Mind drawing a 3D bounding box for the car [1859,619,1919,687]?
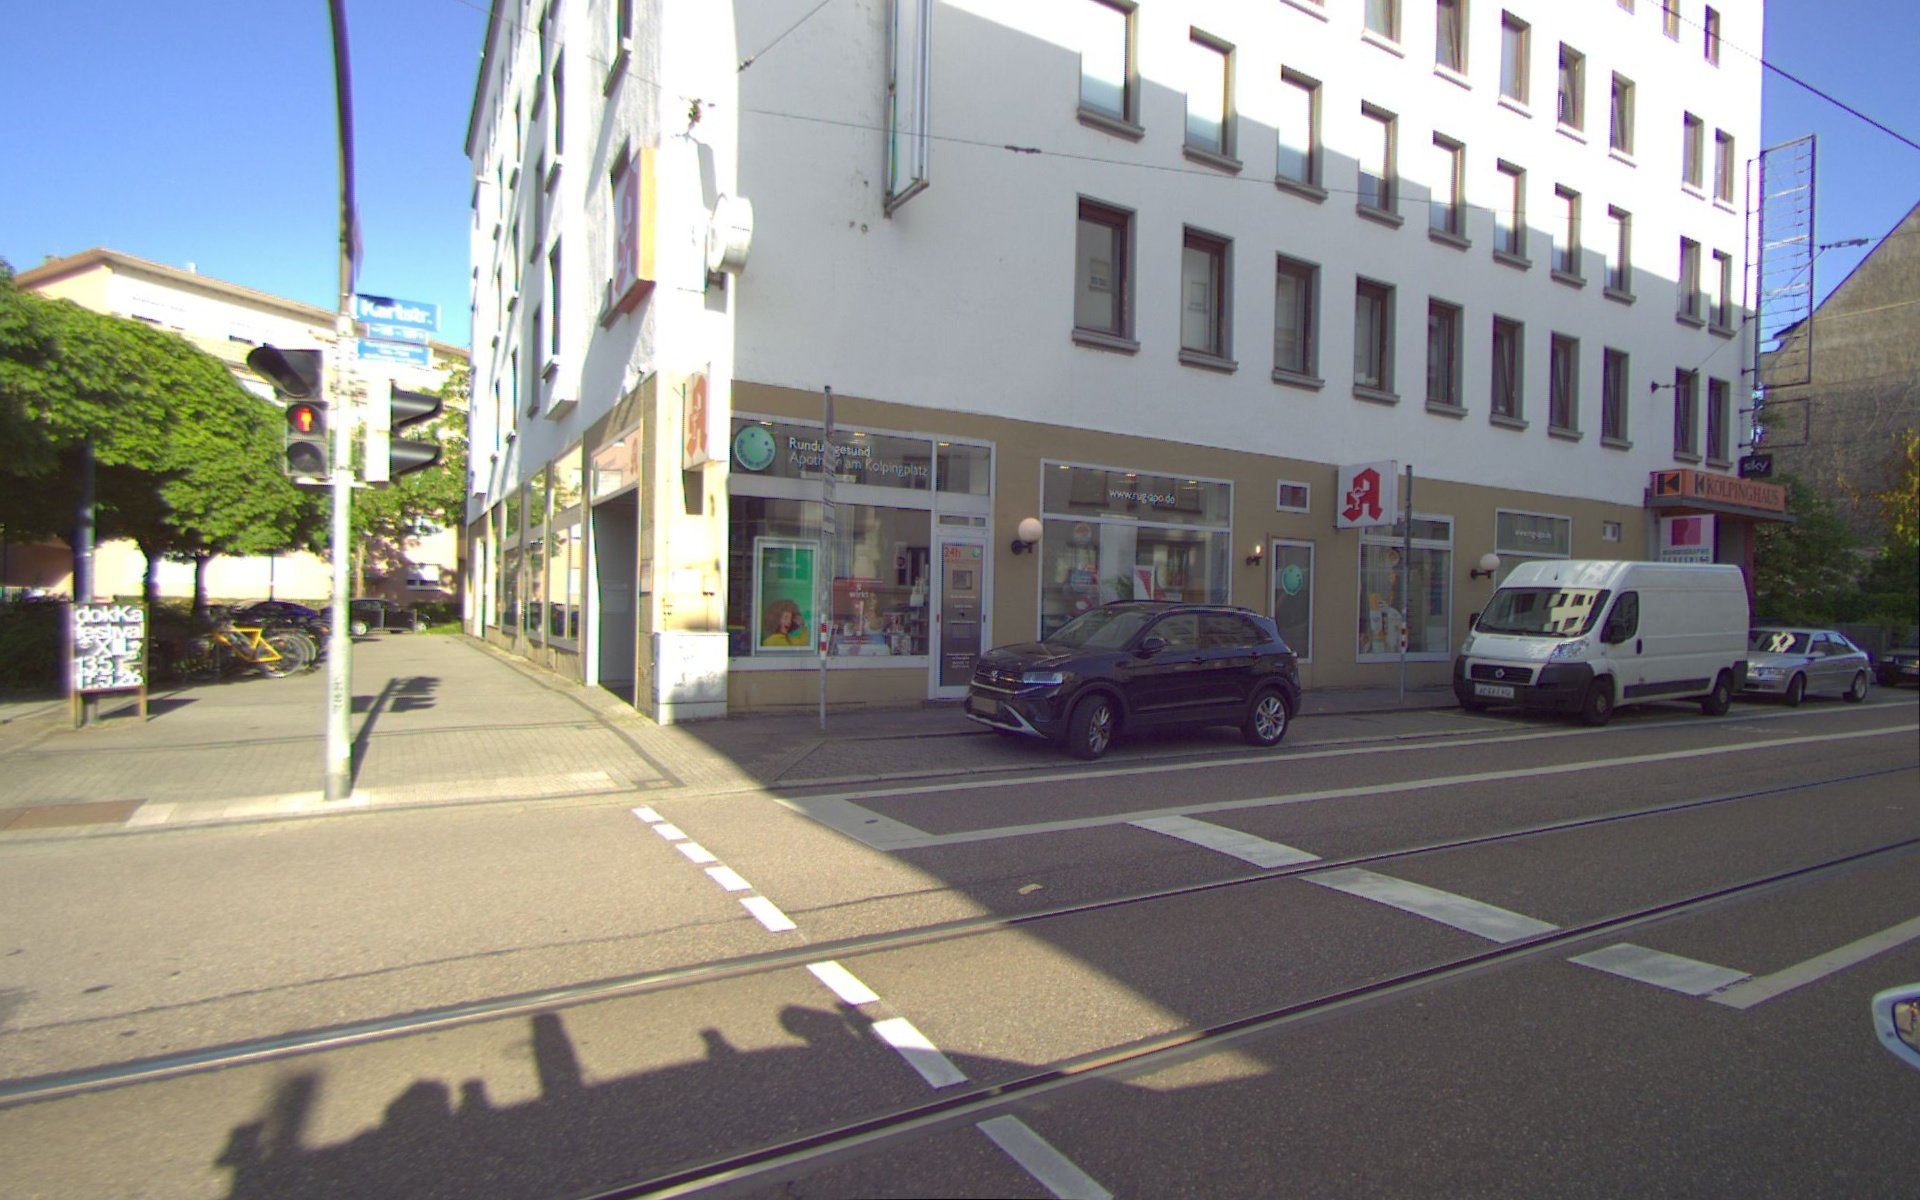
[{"bbox_3d":[23.856,1.297,24.340,4.646,1.501,1.774,2,2,-31],"label":"car"}]

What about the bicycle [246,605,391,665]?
[{"bbox_3d":[-12.845,0.694,20.183,2.412,1.140,0.622,2,0,-35],"label":"bicycle"}]

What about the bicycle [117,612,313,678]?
[{"bbox_3d":[-11.986,0.719,16.284,2.464,1.001,0.749,2,0,-31],"label":"bicycle"}]

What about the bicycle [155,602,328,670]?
[{"bbox_3d":[-12.590,0.634,17.710,2.409,1.140,0.623,2,0,-31],"label":"bicycle"}]

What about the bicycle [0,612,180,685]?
[{"bbox_3d":[-12.998,0.696,14.640,2.463,1.001,0.750,2,0,-30],"label":"bicycle"}]

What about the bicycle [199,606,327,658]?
[{"bbox_3d":[-14.916,0.682,21.556,2.207,1.063,0.622,2,0,-35],"label":"bicycle"}]

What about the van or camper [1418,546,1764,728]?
[{"bbox_3d":[10.366,0.533,16.327,6.162,2.500,2.160,2,2,-32],"label":"van or camper"}]

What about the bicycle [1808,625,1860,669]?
[{"bbox_3d":[24.571,1.327,28.218,2.026,1.190,0.437,2,0,-30],"label":"bicycle"}]

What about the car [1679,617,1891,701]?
[{"bbox_3d":[16.529,1.145,20.084,4.392,1.417,1.775,2,2,-30],"label":"car"}]

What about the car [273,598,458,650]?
[{"bbox_3d":[-15.169,0.613,25.824,3.953,1.247,1.724,1,0,-31],"label":"car"}]

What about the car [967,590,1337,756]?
[{"bbox_3d":[2.240,0.761,11.579,3.944,1.573,1.775,2,2,-30],"label":"car"}]

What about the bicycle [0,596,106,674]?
[{"bbox_3d":[-14.787,0.533,16.132,2.390,1.140,0.628,1,0,23],"label":"bicycle"}]

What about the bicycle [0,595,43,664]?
[{"bbox_3d":[-16.362,0.478,16.215,0.615,1.140,2.439,1,0,9],"label":"bicycle"}]

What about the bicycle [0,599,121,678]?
[{"bbox_3d":[-14.047,0.562,14.866,2.409,1.140,0.623,2,0,-31],"label":"bicycle"}]

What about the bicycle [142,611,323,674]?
[{"bbox_3d":[-12.261,0.714,17.034,2.409,1.001,0.623,2,0,-31],"label":"bicycle"}]

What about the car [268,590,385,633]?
[{"bbox_3d":[-25.336,0.449,40.363,1.756,1.606,4.371,1,0,3],"label":"car"}]
